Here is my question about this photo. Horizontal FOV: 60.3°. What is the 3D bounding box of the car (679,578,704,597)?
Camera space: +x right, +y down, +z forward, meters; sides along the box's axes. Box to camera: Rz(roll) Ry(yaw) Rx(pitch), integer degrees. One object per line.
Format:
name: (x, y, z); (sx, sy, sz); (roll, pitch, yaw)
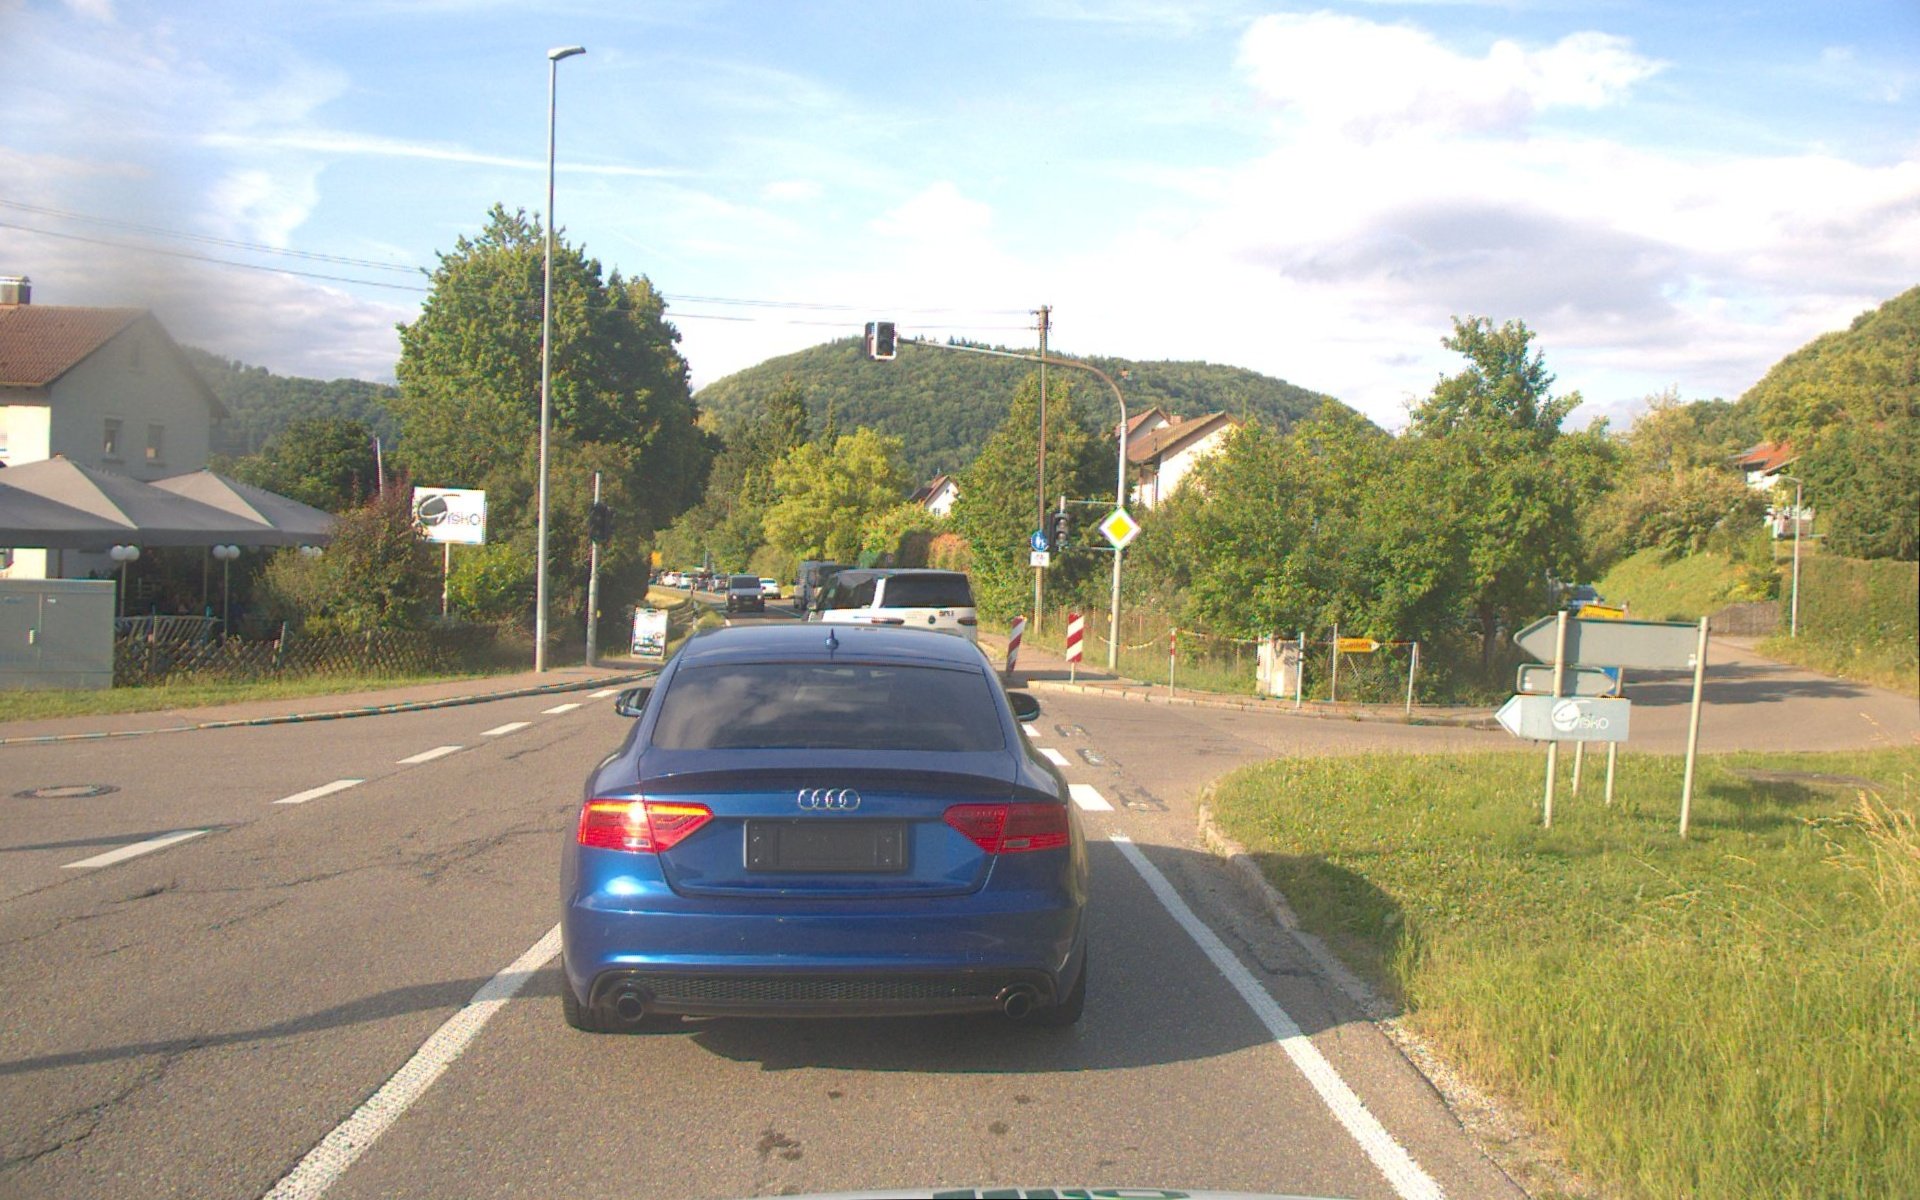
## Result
car: (-25.330, -1.183, 156.058); (1.910, 1.713, 3.983); (0, 0, -16)

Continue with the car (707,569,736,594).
car: (-20.048, -1.527, 138.802); (1.960, 2.049, 3.985); (0, 1, -15)

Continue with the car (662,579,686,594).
car: (-28.493, -1.390, 164.814); (1.910, 1.449, 3.983); (0, 1, -16)

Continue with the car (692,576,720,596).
car: (-22.671, -1.244, 147.737); (2.007, 1.713, 3.983); (1, 1, -16)

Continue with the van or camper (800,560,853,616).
van or camper: (-7.302, -0.667, 89.985); (2.371, 2.955, 6.118); (0, 1, -10)

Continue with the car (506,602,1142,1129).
car: (-0.463, 0.748, 6.804); (1.793, 1.433, 4.224); (0, 0, -2)

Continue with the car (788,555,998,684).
car: (-1.265, 0.255, 28.207); (1.966, 1.909, 4.837); (2, 1, -23)

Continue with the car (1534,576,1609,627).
car: (21.420, 0.013, 58.055); (1.827, 1.638, 4.576); (2, 1, 13)

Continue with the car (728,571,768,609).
car: (-11.213, -0.546, 87.324); (1.957, 1.937, 5.243); (-1, 1, -9)

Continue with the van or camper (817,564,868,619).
van or camper: (-5.449, -0.421, 76.151); (2.138, 2.426, 5.362); (0, 1, -7)

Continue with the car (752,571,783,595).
car: (-13.324, -1.167, 114.158); (1.787, 1.579, 3.989); (0, 1, -12)

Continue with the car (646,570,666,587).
car: (-32.551, -2.279, 177.117); (1.743, 1.814, 3.983); (0, 1, -16)
